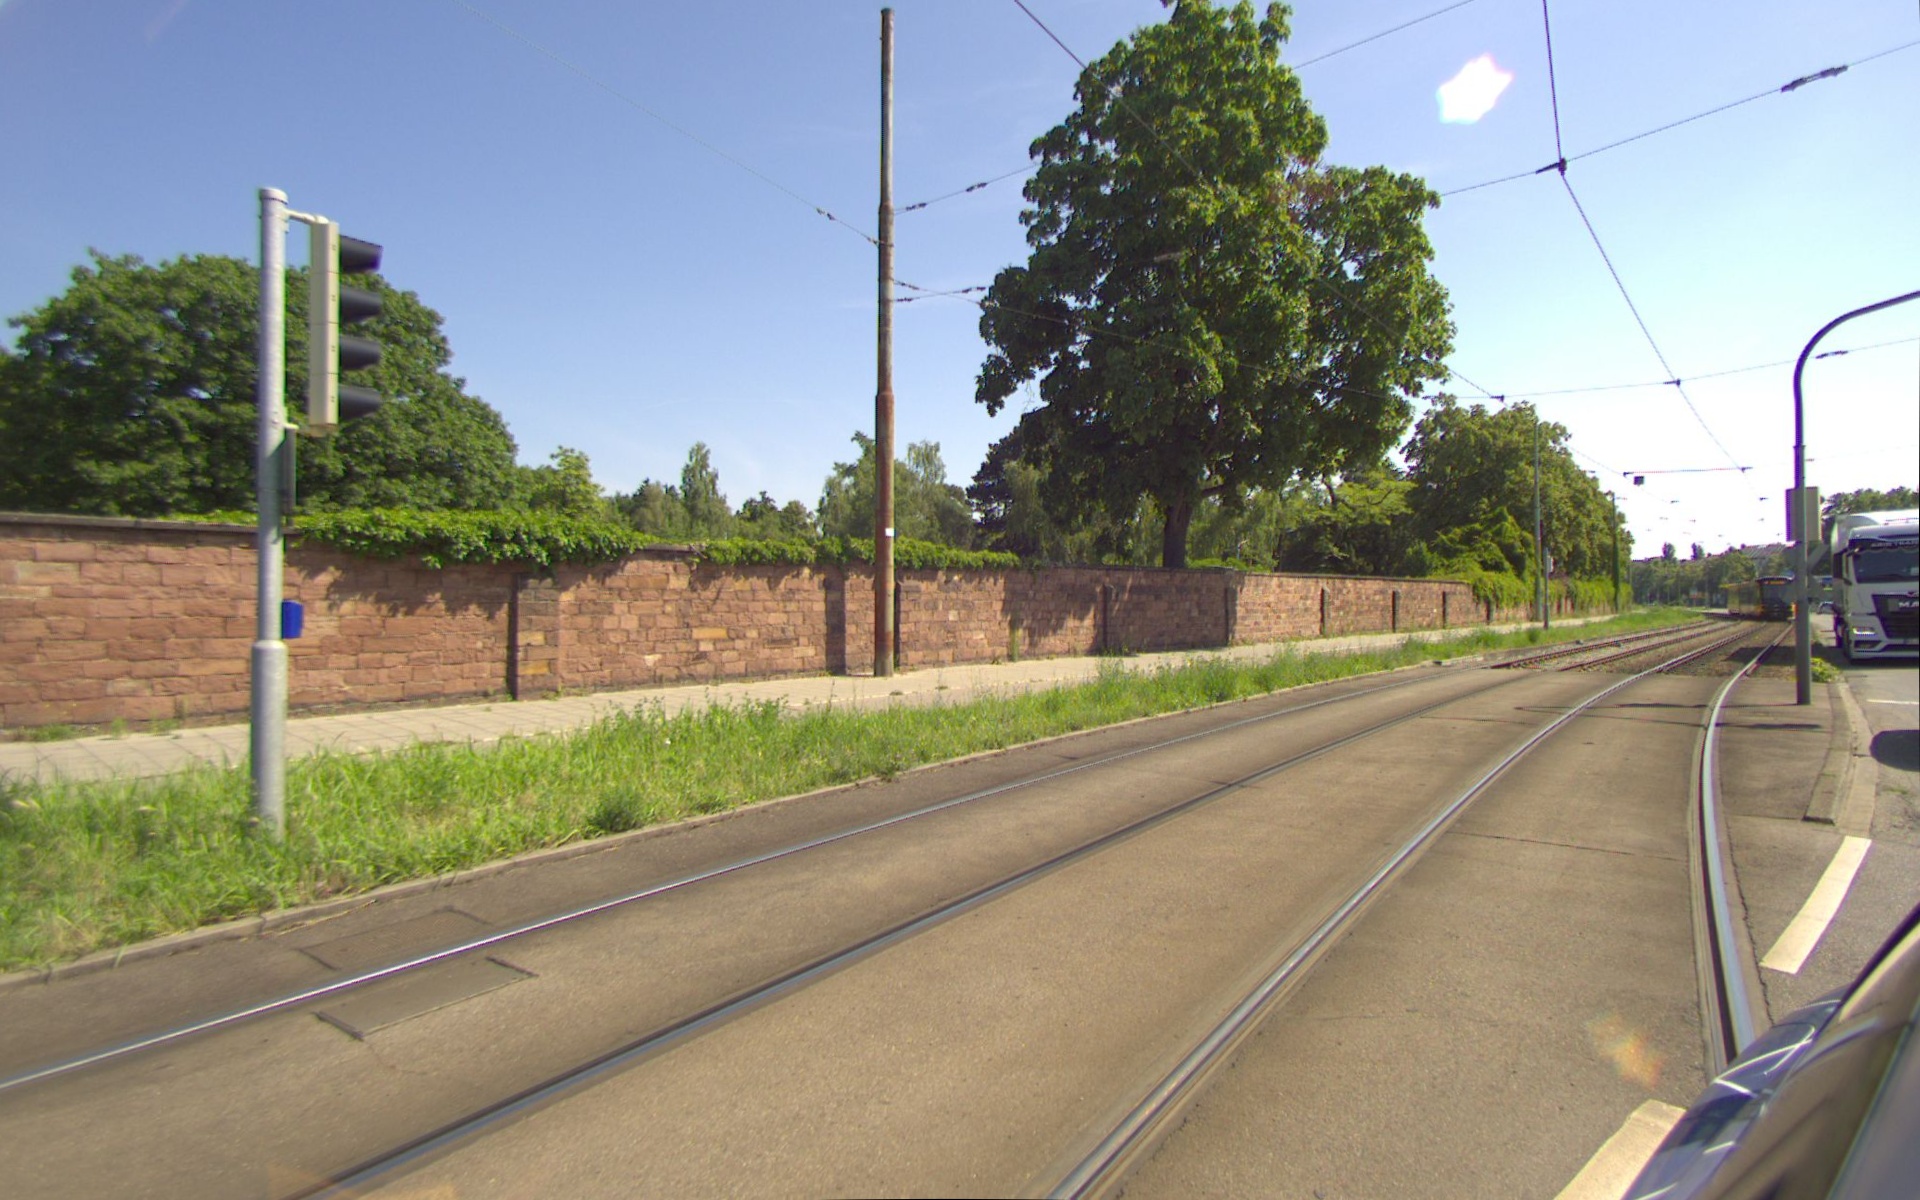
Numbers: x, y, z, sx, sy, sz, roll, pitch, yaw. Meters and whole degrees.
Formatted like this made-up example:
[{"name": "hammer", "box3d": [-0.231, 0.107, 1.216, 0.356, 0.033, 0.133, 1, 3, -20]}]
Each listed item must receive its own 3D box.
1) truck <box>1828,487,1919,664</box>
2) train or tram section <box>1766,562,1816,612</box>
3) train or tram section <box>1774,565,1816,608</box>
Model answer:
[{"name": "truck", "box3d": [27.141, -0.671, 28.885, 3.378, 4.121, 14.077, -3, -1, 41]}, {"name": "train or tram section", "box3d": [68.844, -1.097, 83.709, 2.666, 3.699, 15.080, -3, -1, 41]}, {"name": "train or tram section", "box3d": [79.764, -1.314, 96.528, 2.669, 3.699, 18.682, -3, -1, 40]}]
